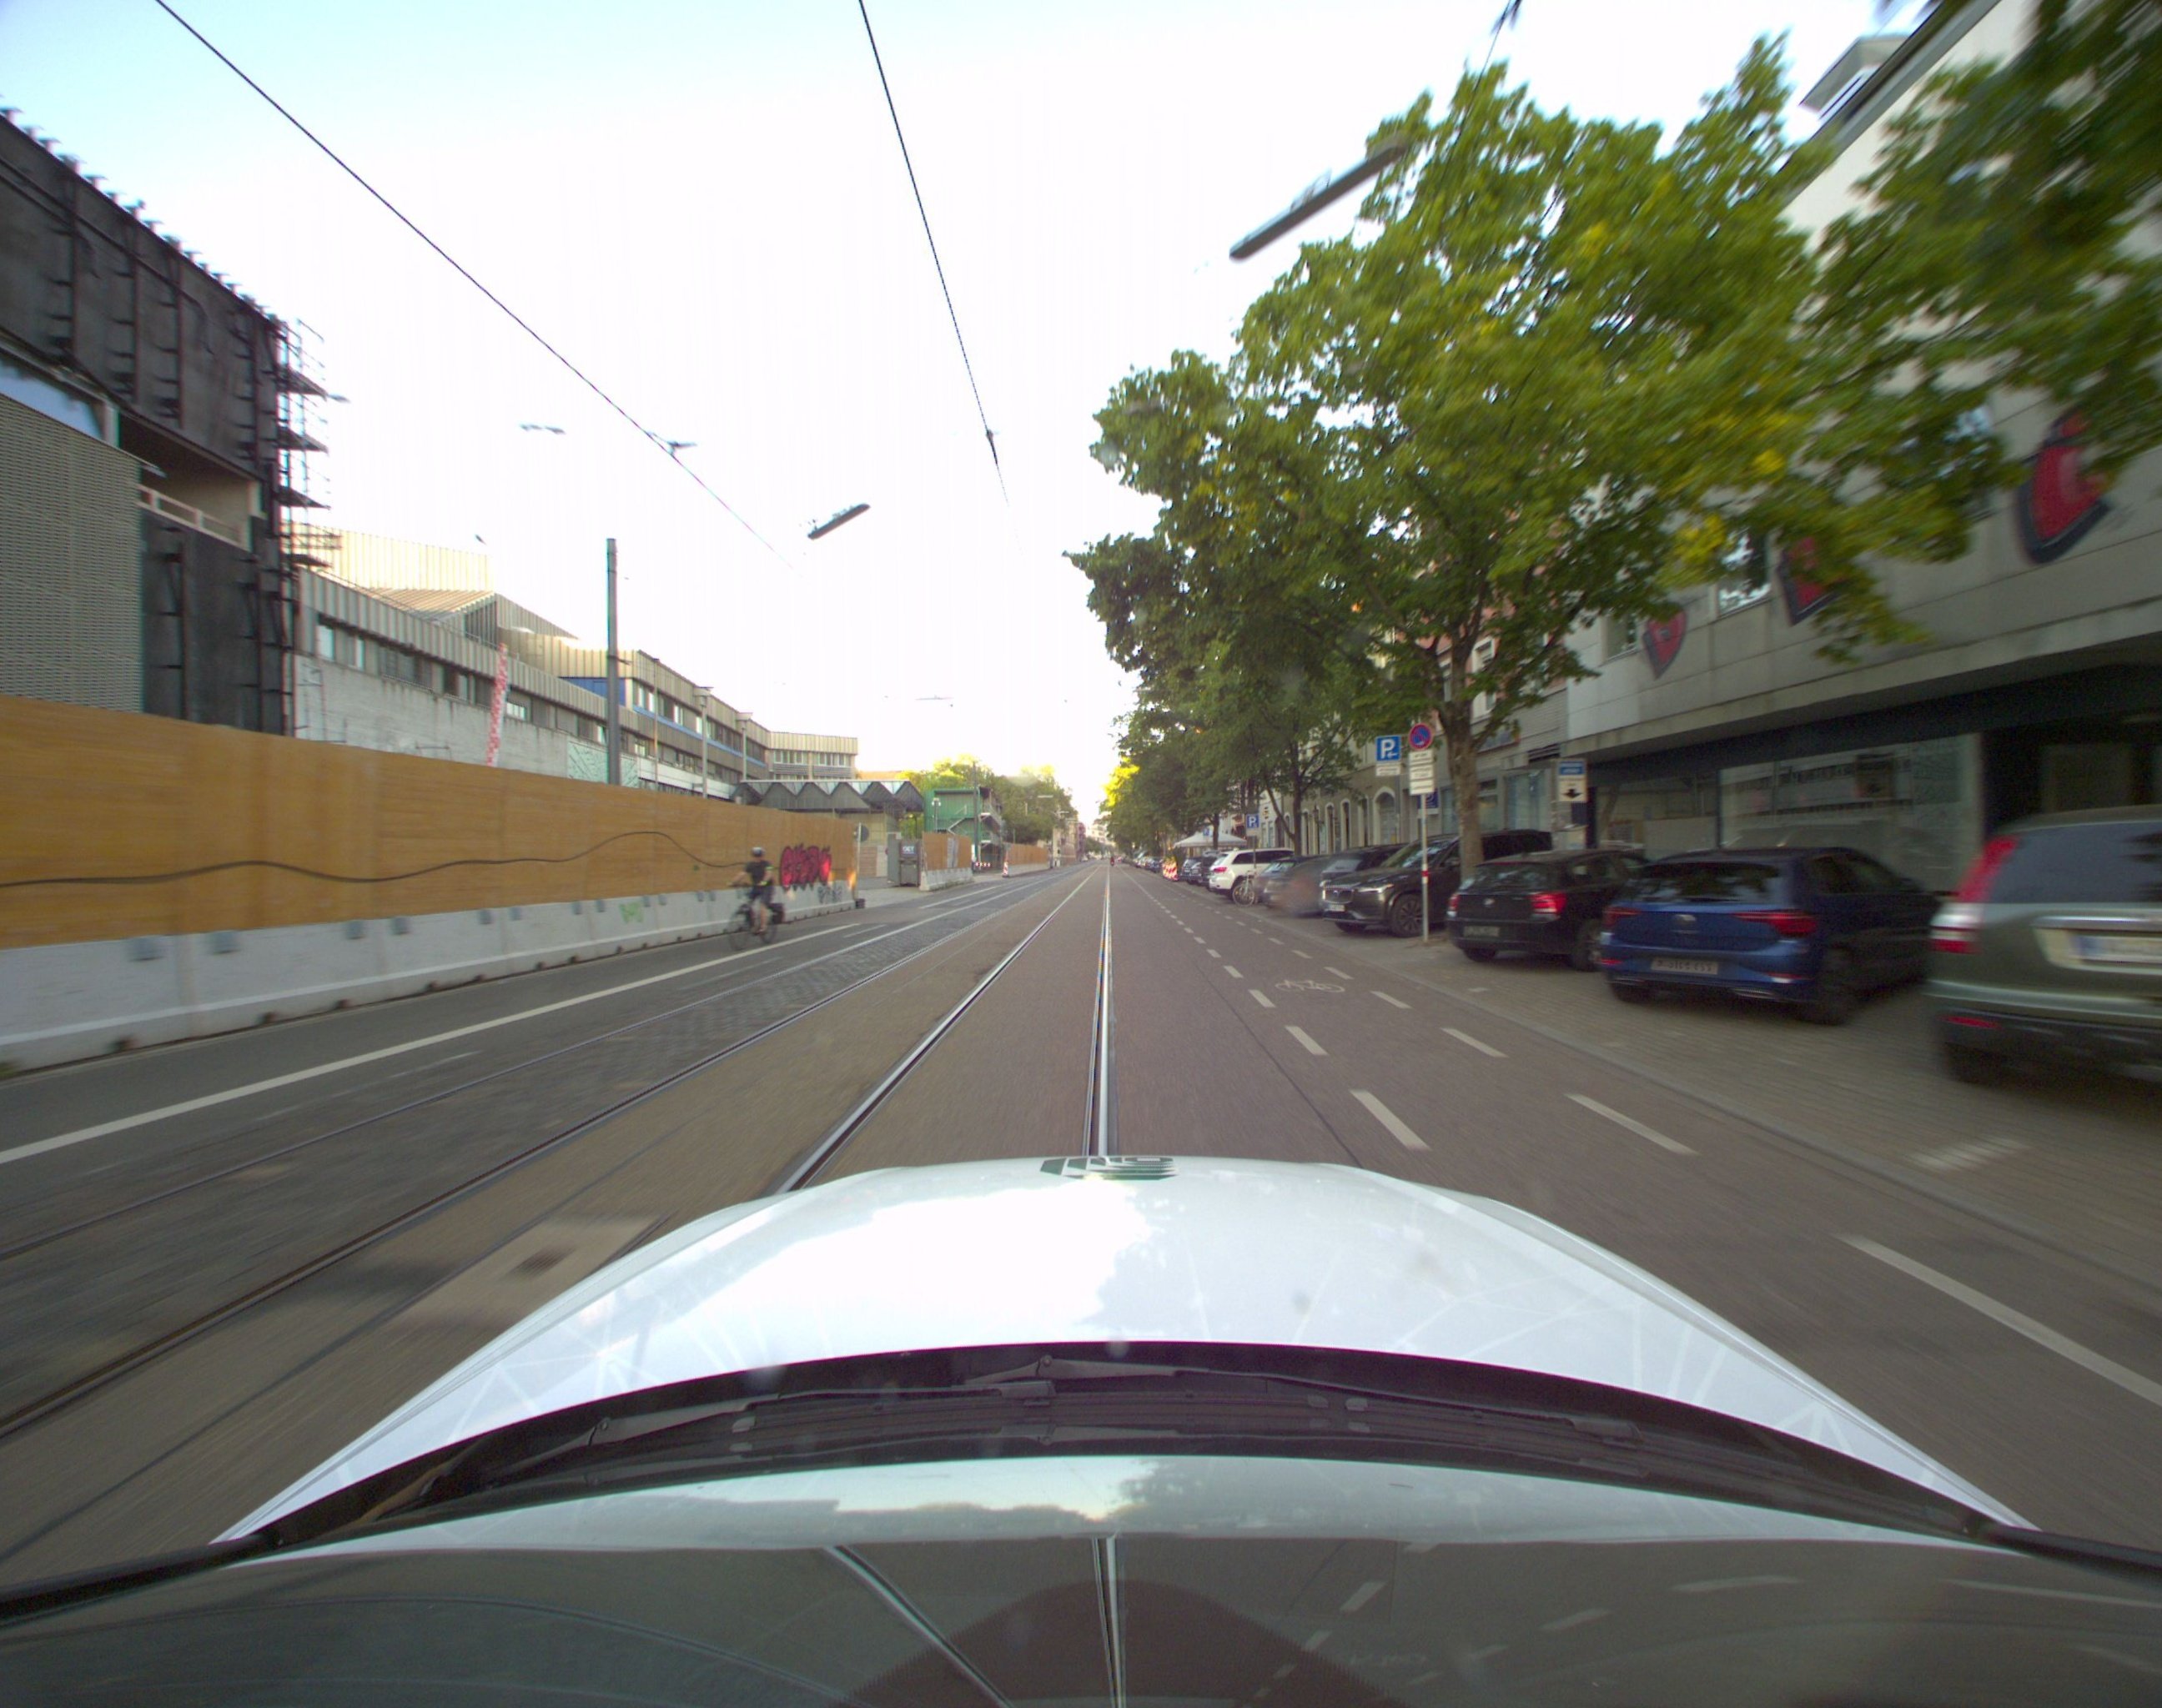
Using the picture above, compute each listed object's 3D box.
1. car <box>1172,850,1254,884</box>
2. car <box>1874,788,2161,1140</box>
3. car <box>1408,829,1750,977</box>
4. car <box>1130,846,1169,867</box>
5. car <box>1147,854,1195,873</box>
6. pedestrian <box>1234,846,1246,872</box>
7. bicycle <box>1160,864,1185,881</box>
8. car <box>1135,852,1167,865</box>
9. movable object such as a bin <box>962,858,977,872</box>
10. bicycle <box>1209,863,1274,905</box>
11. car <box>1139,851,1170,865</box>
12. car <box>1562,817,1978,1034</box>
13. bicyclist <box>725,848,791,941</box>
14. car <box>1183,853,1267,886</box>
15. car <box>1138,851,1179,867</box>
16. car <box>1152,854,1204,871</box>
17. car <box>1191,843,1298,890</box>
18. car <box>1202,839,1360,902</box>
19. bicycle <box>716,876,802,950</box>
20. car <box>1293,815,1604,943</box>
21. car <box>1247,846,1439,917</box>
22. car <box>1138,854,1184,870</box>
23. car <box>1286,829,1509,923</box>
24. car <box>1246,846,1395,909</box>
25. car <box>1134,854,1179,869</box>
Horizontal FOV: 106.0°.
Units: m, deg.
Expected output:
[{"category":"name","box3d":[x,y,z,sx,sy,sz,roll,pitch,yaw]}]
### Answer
[{"category":"car","box3d":[7.038,0.682,43.421,3.979,1.553,1.692,-3,0,-24]},{"category":"car","box3d":[6.897,0.428,5.096,4.184,1.664,1.823,-4,0,-33]},{"category":"car","box3d":[6.727,0.551,10.982,4.177,1.465,1.954,-4,0,-26]},{"category":"car","box3d":[9.738,0.400,116.181,5.104,2.642,2.011,-3,-1,-15]},{"category":"car","box3d":[8.464,0.925,76.618,4.125,1.470,1.813,-4,0,-16]},{"category":"pedestrian","box3d":[10.685,0.323,54.739,0.551,1.763,0.849,-1,0,-10]},{"category":"bicycle","box3d":[6.485,1.300,57.905,1.673,1.031,0.557,-4,-1,0]},{"category":"car","box3d":[9.557,0.639,111.390,3.967,1.486,1.906,-2,-1,-22]},{"category":"movable object such as a bin","box3d":[-11.008,1.073,80.278,1.302,1.369,0.783,-1,-1,-2]},{"category":"bicycle","box3d":[4.907,0.904,24.844,1.837,1.102,0.496,-4,0,-12]},{"category":"car","box3d":[9.636,0.515,107.555,3.935,1.620,1.922,-3,-1,2]},{"category":"car","box3d":[6.788,0.536,7.974,3.906,1.502,1.796,-4,0,-29]},{"category":"bicyclist","box3d":[-6.024,0.733,15.251,0.765,1.665,1.018,-1,0,1]},{"category":"car","box3d":[7.253,0.766,40.969,3.790,1.408,1.692,-3,0,-24]},{"category":"car","box3d":[8.927,0.577,94.151,4.249,1.549,2.013,-3,-1,-9]},{"category":"car","box3d":[8.502,0.752,71.755,4.172,1.426,1.812,-1,0,-18]},{"category":"car","box3d":[7.140,0.533,35.464,4.170,1.806,1.990,-3,0,-27]},{"category":"car","box3d":[6.476,0.527,26.806,4.634,1.688,2.007,-4,0,0]},{"category":"bicycle","box3d":[-6.007,1.059,15.299,0.765,1.228,1.937,-1,0,2]},{"category":"car","box3d":[6.755,0.392,15.113,4.976,1.826,2.195,-4,0,-17]},{"category":"car","box3d":[6.525,0.649,20.332,4.227,1.426,1.962,-3,0,-21]},{"category":"car","box3d":[8.015,0.778,81.420,4.133,1.470,2.000,-1,0,-23]},{"category":"car","box3d":[6.963,0.443,18.023,4.222,1.649,1.965,-4,0,-17]},{"category":"car","box3d":[6.772,0.634,23.032,3.763,1.426,1.714,-4,0,-23]},{"category":"car","box3d":[7.972,0.783,85.982,4.267,1.392,2.001,-2,-1,-22]}]
